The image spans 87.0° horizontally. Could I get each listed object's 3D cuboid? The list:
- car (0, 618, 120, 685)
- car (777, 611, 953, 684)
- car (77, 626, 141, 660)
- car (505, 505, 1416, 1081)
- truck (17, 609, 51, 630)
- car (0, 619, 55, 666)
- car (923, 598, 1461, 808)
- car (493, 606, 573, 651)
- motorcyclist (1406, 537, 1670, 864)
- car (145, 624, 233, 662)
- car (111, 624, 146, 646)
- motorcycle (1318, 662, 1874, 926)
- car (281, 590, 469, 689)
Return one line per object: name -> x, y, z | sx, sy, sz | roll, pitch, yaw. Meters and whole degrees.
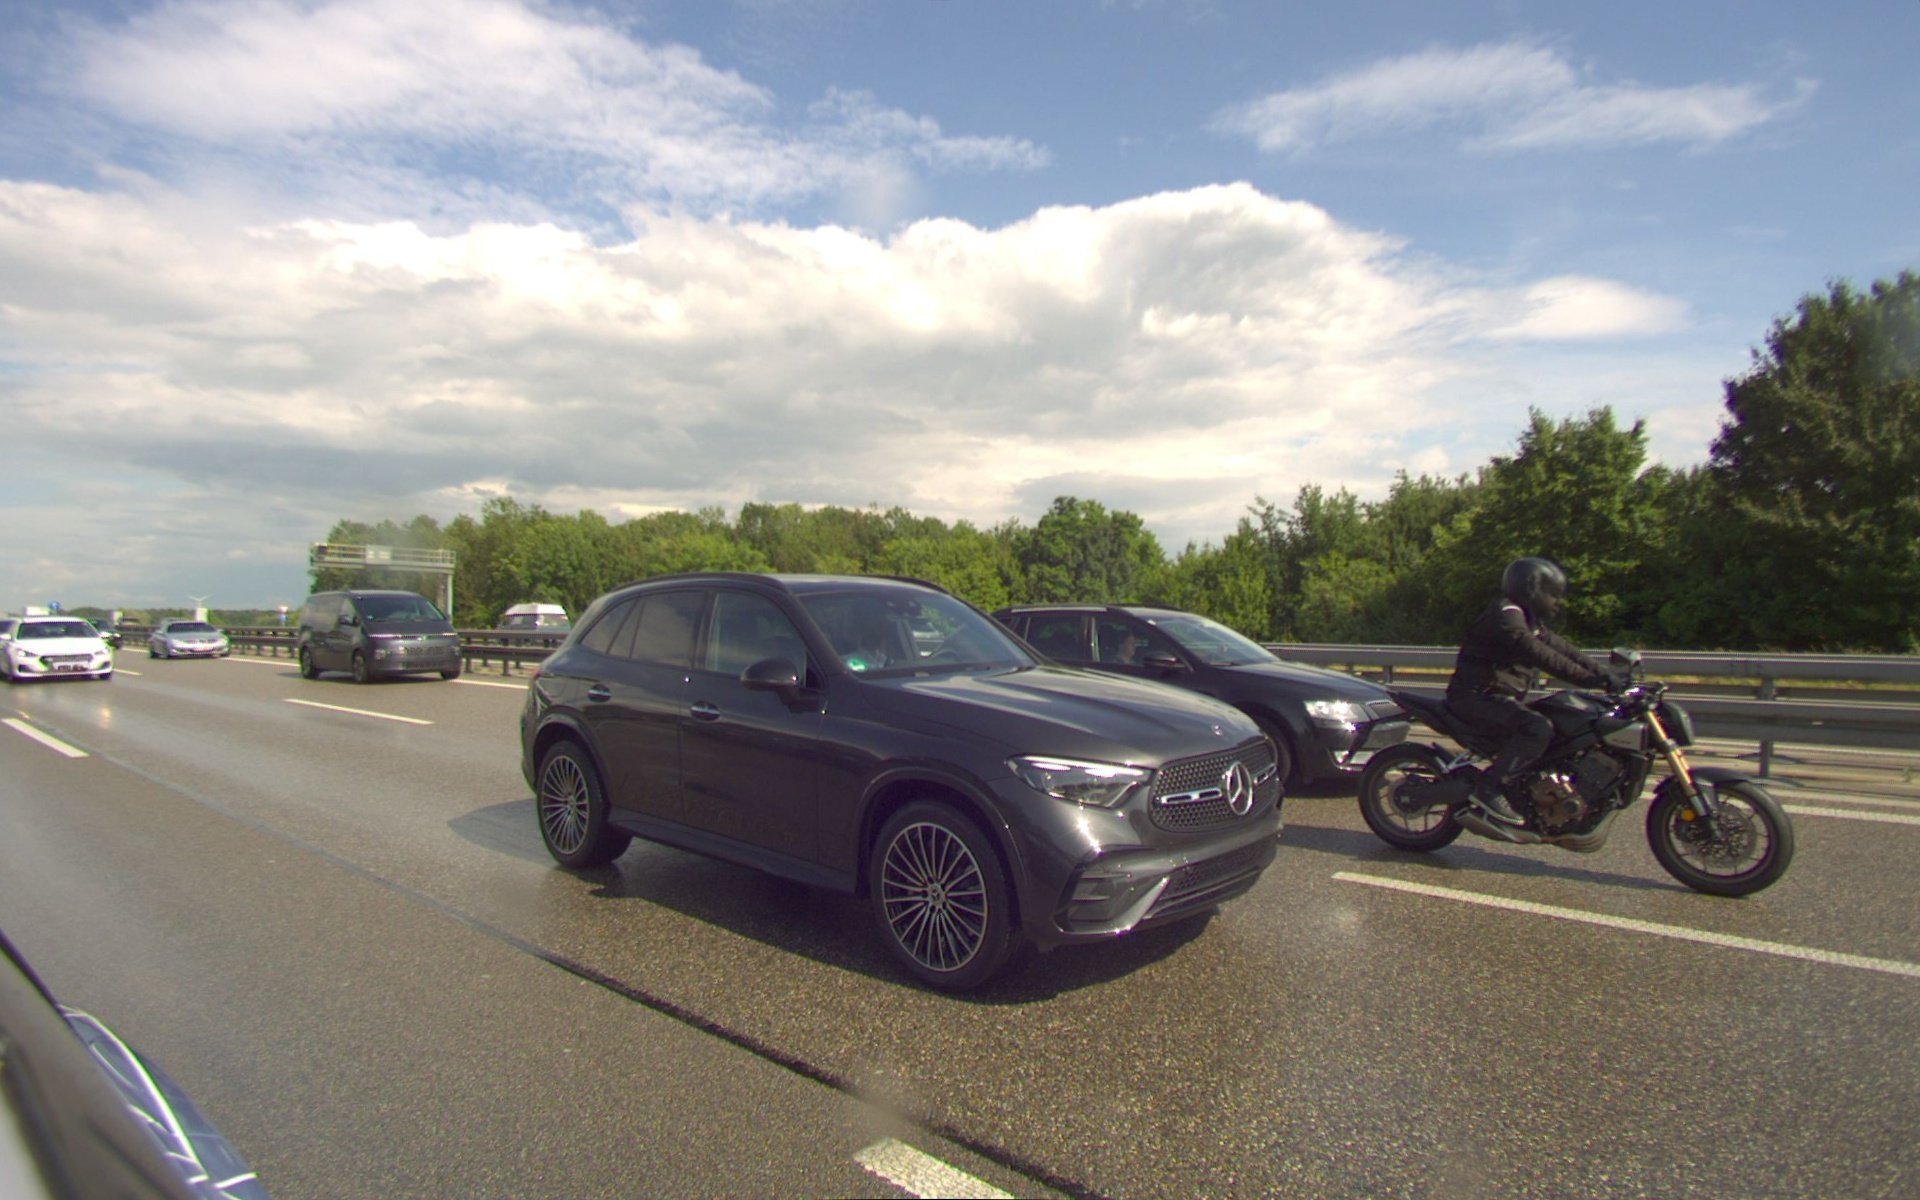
car -> -21.032, 1.135, 23.453 | 4.239, 1.408, 1.785 | -1, -1, 42
car -> -2.132, 0.992, 22.263 | 3.630, 1.462, 1.826 | -1, -1, 40
car -> -37.374, 1.852, 44.413 | 3.998, 1.431, 1.597 | -1, -1, 41
car -> -0.372, 0.599, 5.212 | 4.624, 1.692, 1.857 | -1, -1, 41
truck -> -143.618, 2.998, 156.864 | 8.717, 3.009, 2.886 | -1, 0, 41
car -> -30.273, 1.335, 32.298 | 3.997, 1.409, 1.577 | -1, -1, 41
car -> 1.889, 0.737, 9.130 | 4.371, 1.435, 1.899 | -1, -1, 42
car -> -20.352, 1.314, 48.126 | 4.364, 2.029, 1.971 | -1, -1, 44
motorcyclist -> 3.105, 0.482, 5.452 | 1.092, 1.549, 0.787 | -1, -1, 40
car -> -26.338, 1.427, 34.539 | 3.583, 1.198, 1.832 | -1, -1, 43
car -> -82.801, 3.439, 100.742 | 5.074, 2.029, 1.832 | -1, 0, 41
motorcycle -> 3.214, 0.896, 5.374 | 2.387, 1.035, 0.683 | -1, -1, 41
car -> -12.964, 0.814, 22.280 | 5.232, 1.932, 1.973 | -1, -1, 41
